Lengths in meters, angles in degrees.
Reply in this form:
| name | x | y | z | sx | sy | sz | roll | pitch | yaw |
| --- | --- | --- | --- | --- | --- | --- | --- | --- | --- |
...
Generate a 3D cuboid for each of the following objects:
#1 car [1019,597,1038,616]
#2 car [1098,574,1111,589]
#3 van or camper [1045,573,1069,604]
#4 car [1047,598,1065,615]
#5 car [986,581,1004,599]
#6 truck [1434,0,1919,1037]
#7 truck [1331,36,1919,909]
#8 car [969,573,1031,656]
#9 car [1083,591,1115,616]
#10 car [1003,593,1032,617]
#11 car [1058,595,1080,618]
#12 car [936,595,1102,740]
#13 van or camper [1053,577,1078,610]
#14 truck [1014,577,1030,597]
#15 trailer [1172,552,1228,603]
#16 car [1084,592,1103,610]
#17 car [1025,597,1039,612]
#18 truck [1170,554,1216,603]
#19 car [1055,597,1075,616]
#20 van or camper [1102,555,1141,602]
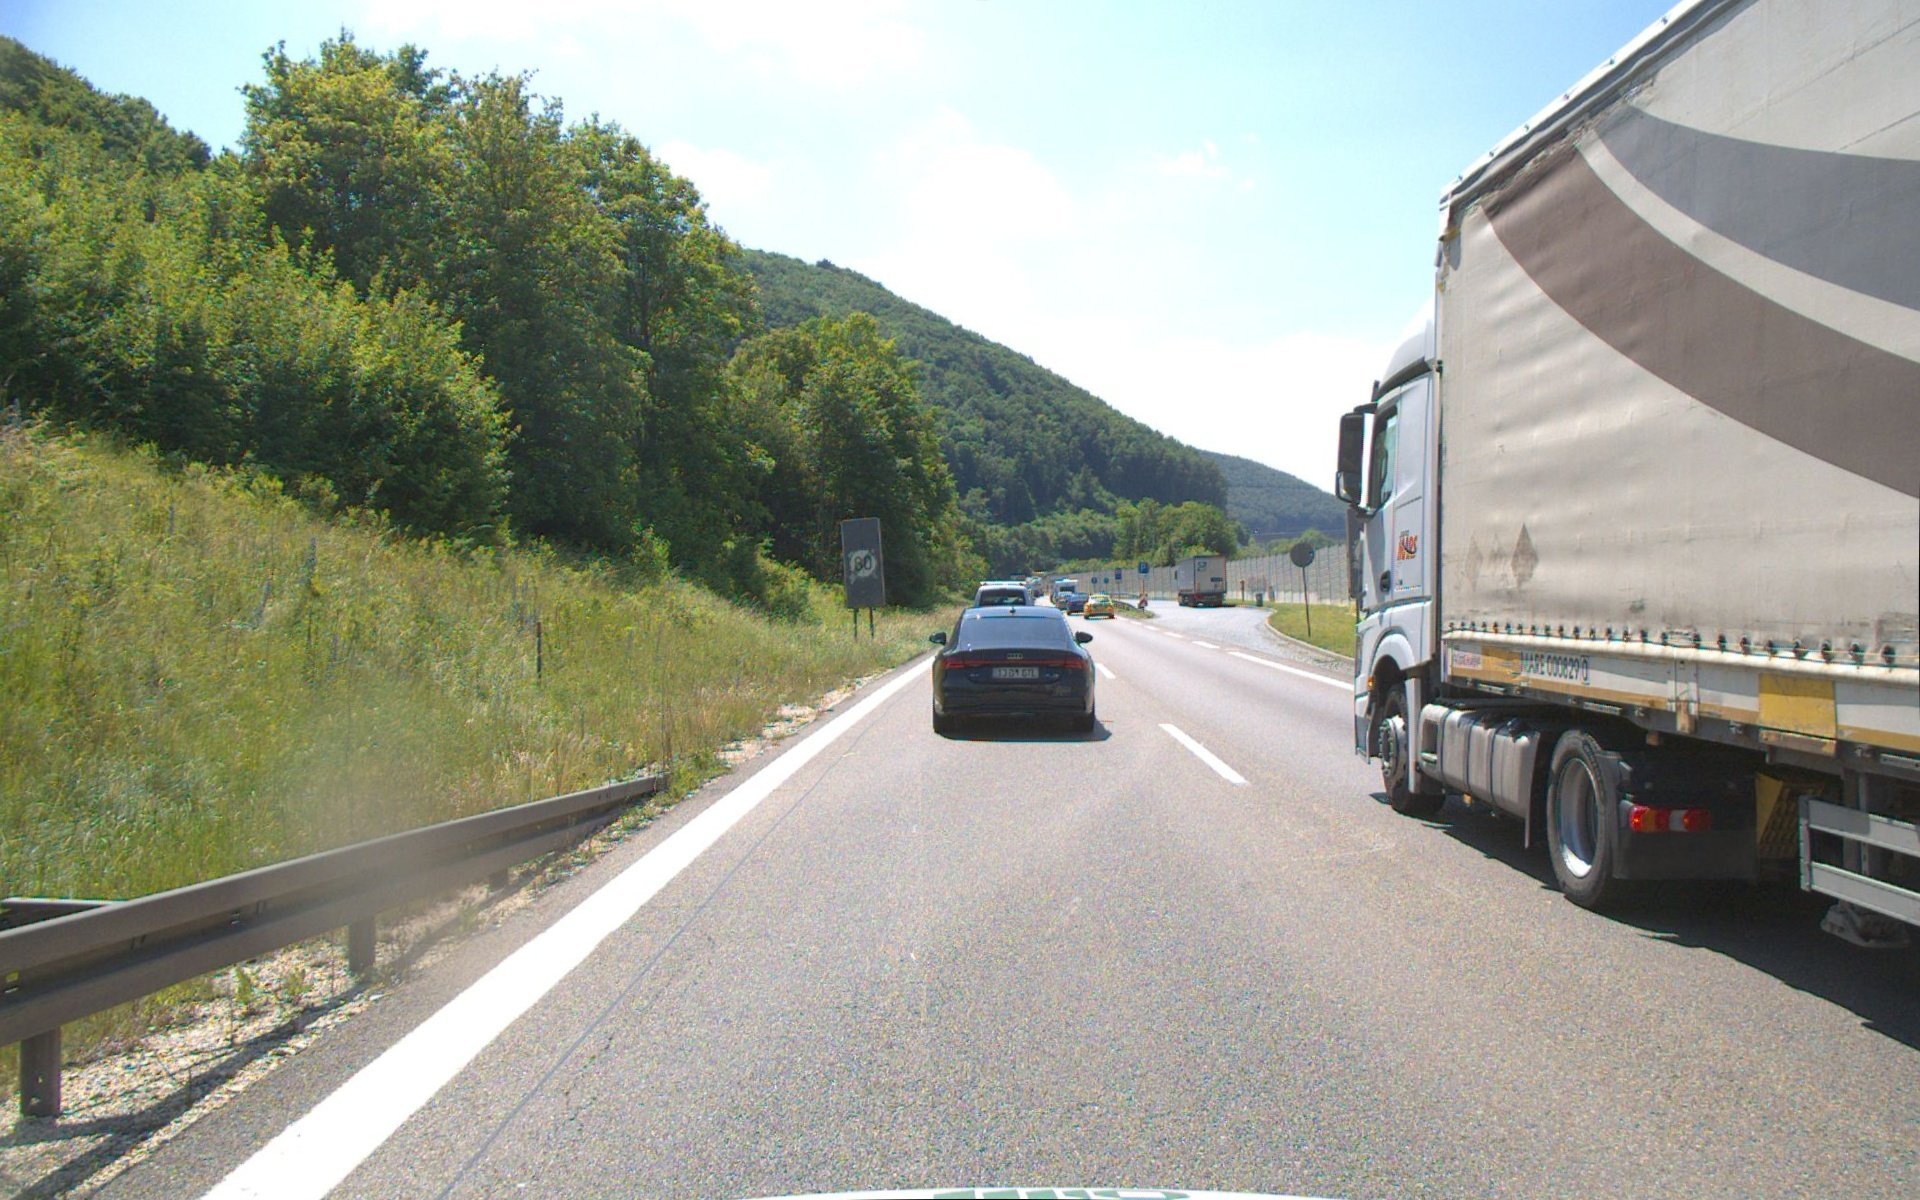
| name | x | y | z | sx | sy | sz | roll | pitch | yaw |
| --- | --- | --- | --- | --- | --- | --- | --- | --- | --- |
| car | 5.835 | 0.551 | 140.999 | 1.489 | 1.580 | 3.516 | 2 | 0 | 4 |
| car | 19.501 | -2.460 | 223.089 | 1.543 | 2.049 | 3.429 | -1 | 0 | 3 |
| van or camper | 12.556 | -1.454 | 214.800 | 2.737 | 3.975 | 6.167 | 1 | -1 | 1 |
| car | 11.305 | 0.781 | 194.934 | 1.952 | 2.049 | 4.001 | 1 | -1 | 2 |
| car | 2.837 | -0.814 | 133.338 | 1.304 | 1.473 | 3.022 | 0 | 0 | 4 |
| truck | 4.495 | -0.655 | 3.855 | 2.670 | 4.139 | 13.738 | 0 | -1 | -1 |
| truck | 4.413 | -0.580 | 10.735 | 2.664 | 4.139 | 5.753 | 0 | -1 | -1 |
| car | 1.050 | 0.371 | 42.938 | 1.489 | 2.003 | 3.515 | 2 | 0 | 2 |
| car | 8.638 | 0.202 | 103.186 | 1.839 | 1.525 | 4.001 | 0 | 0 | 3 |
| car | 3.322 | 0.307 | 96.113 | 1.490 | 1.317 | 3.514 | 2 | 0 | 0 |
| car | 7.725 | 0.466 | 117.347 | 1.498 | 1.552 | 3.598 | 1 | -1 | 3 |
| car | 0.693 | 0.720 | 19.508 | 1.774 | 1.541 | 3.515 | 0 | 0 | 2 |
| van or camper | 10.592 | -0.590 | 165.998 | 2.379 | 3.210 | 5.205 | 1 | -1 | 3 |
| truck | 8.614 | -1.798 | 229.256 | 2.021 | 2.651 | 5.617 | 2 | 0 | 4 |
| trailer | 19.396 | -1.762 | 134.201 | 3.341 | 3.968 | 11.154 | 0 | 0 | 2 |
| car | 15.253 | 0.077 | 188.914 | 1.952 | 2.049 | 4.001 | 0 | 0 | 2 |
| car | 7.897 | 0.511 | 181.132 | 1.489 | 1.580 | 3.515 | 2 | 0 | 3 |
| truck | 19.580 | -1.803 | 139.246 | 3.341 | 3.968 | 5.389 | 0 | 0 | 2 |
| car | 8.700 | 0.525 | 137.141 | 1.498 | 1.552 | 3.598 | 1 | -1 | 3 |
| van or camper | 14.011 | -1.820 | 143.841 | 2.737 | 3.909 | 6.167 | 1 | -1 | 1 |
